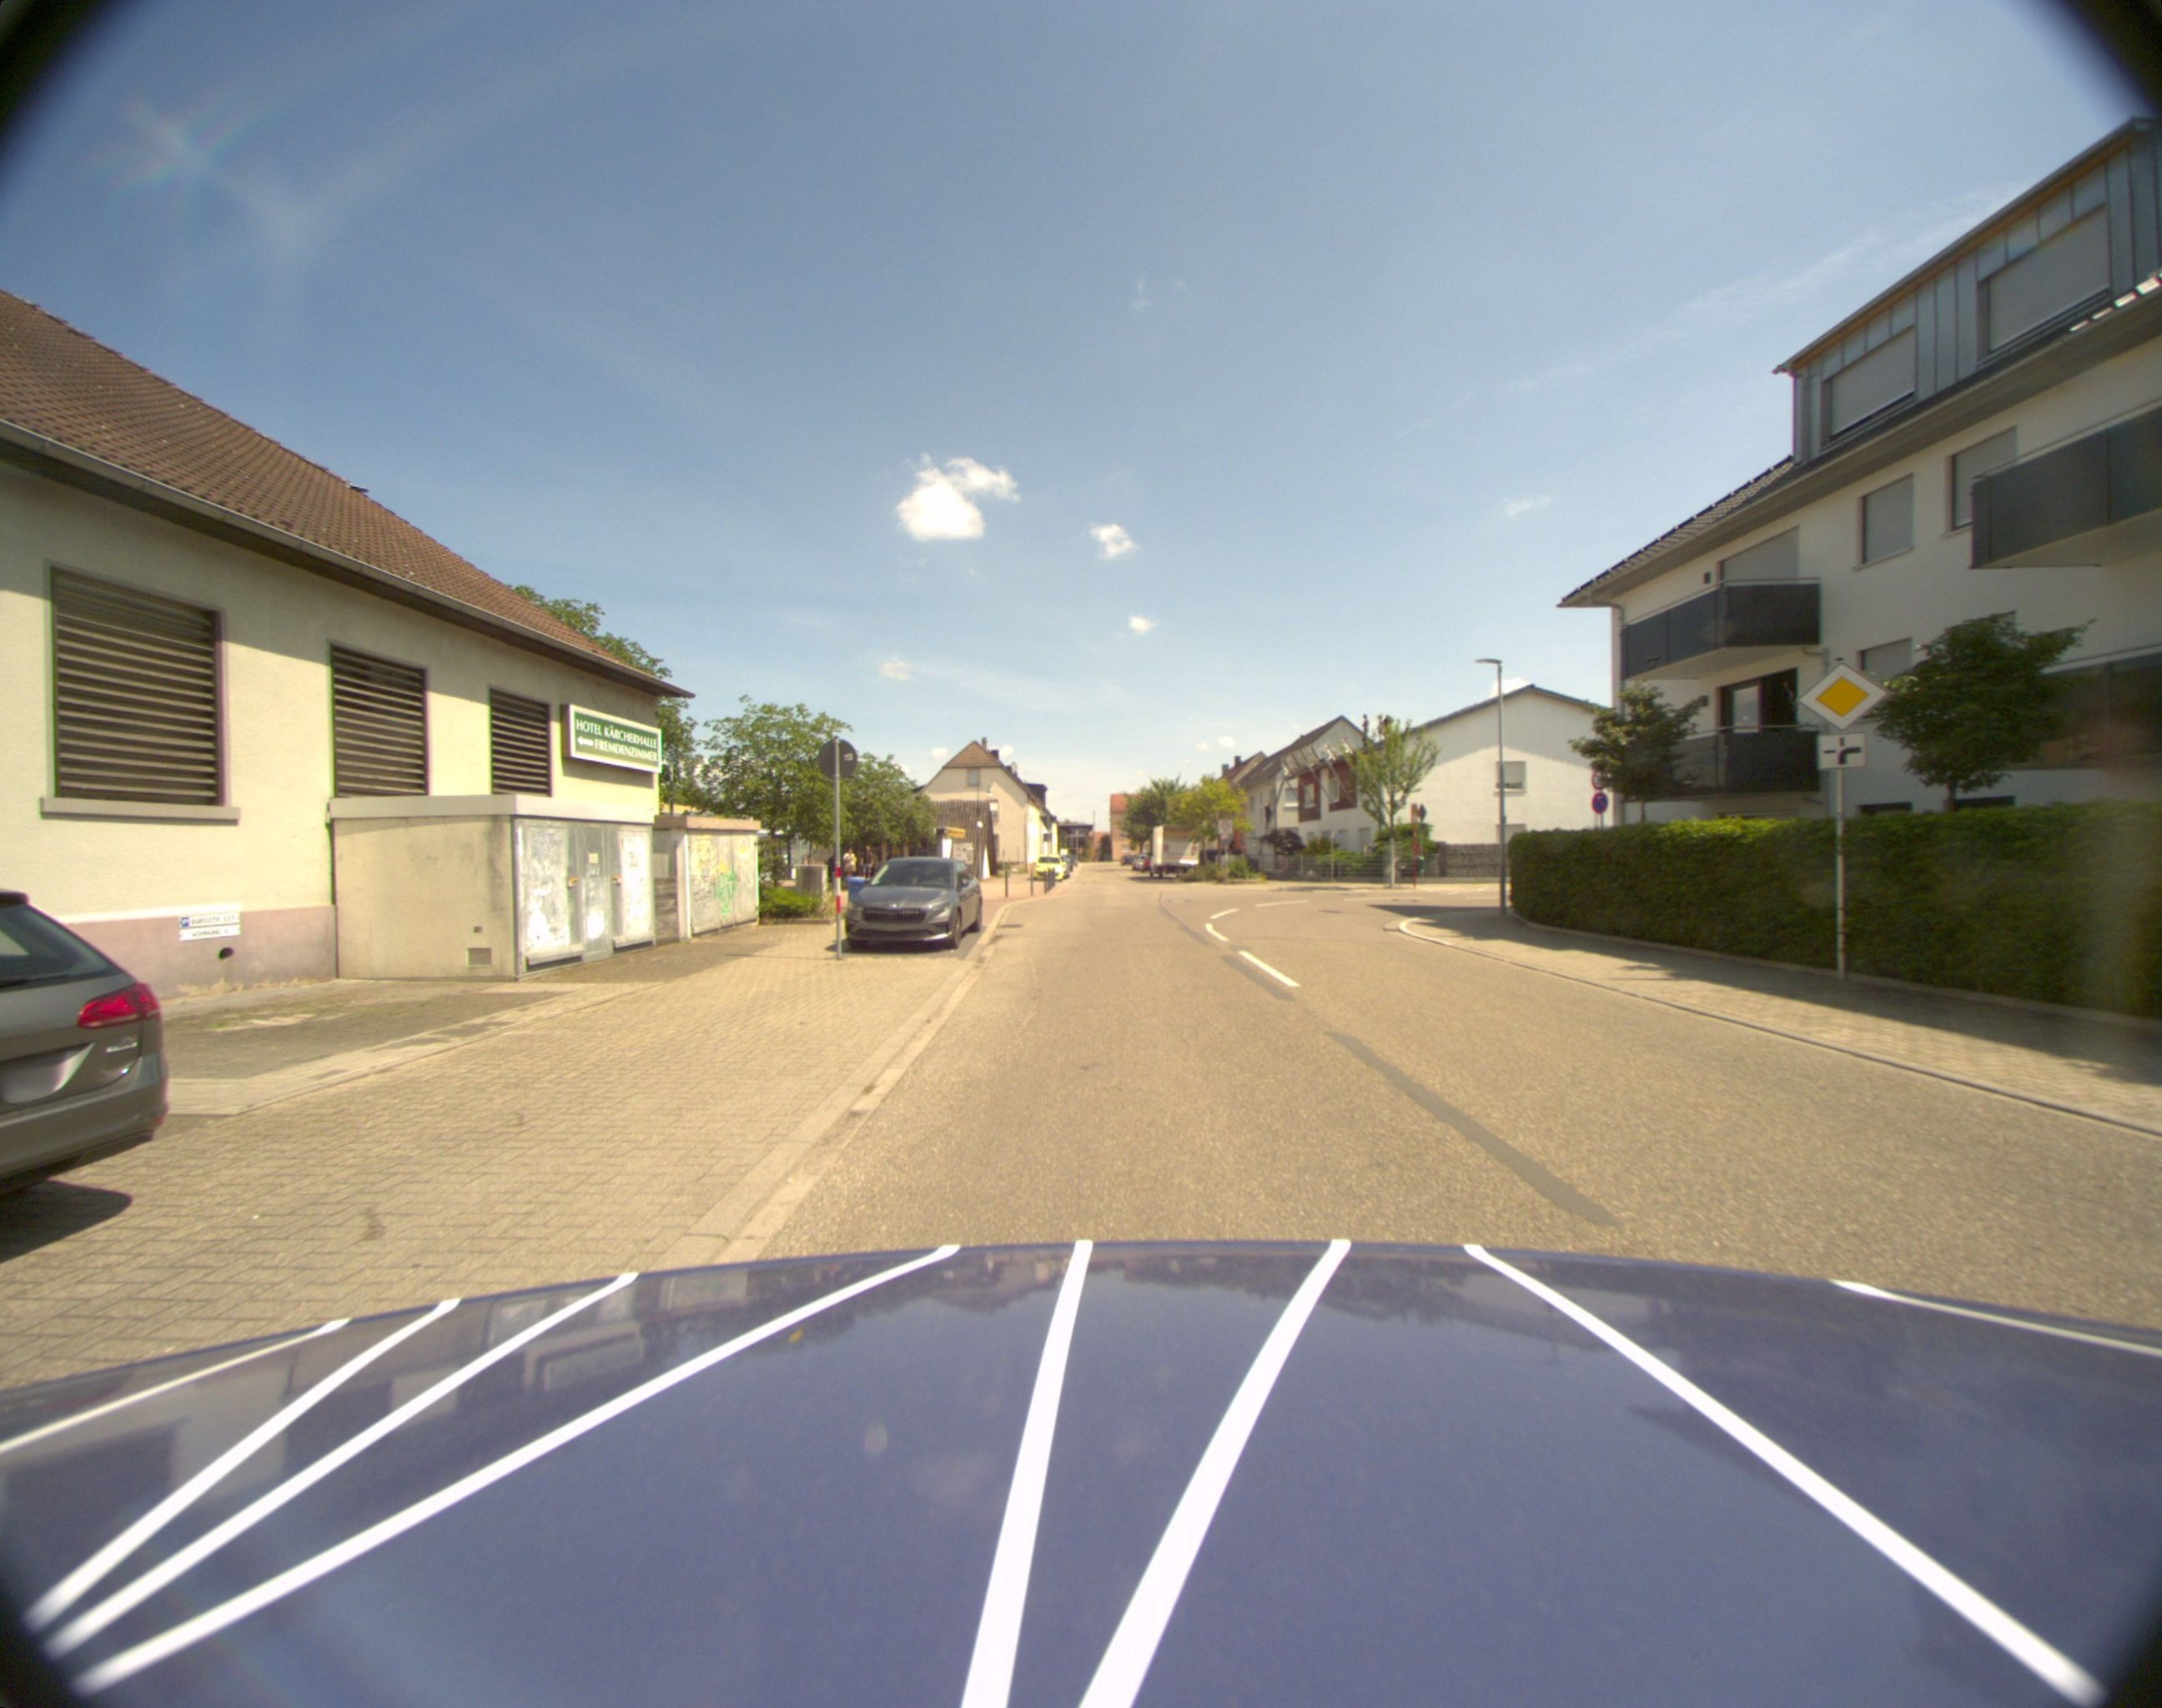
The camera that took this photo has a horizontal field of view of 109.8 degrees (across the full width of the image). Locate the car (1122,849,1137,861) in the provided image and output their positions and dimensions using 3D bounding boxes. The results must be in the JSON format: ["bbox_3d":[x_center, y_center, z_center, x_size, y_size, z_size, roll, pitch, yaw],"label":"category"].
[{"bbox_3d":[6.300,0.170,98.626,1.720,1.491,4.215,1,0,0],"label":"car"}]

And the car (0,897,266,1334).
[{"bbox_3d":[-6.002,0.916,2.531,4.537,1.446,1.918,1,1,1],"label":"car"}]

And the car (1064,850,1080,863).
[{"bbox_3d":[-1.068,0.302,92.820,1.720,1.491,4.215,3,0,1],"label":"car"}]

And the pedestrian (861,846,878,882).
[{"bbox_3d":[-9.950,0.465,35.684,0.463,1.710,0.599,0,1,42],"label":"pedestrian"}]

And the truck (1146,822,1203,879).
[{"bbox_3d":[5.797,-0.215,48.151,2.444,3.228,7.035,2,0,-1],"label":"truck"}]

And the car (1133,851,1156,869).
[{"bbox_3d":[5.659,0.507,68.095,1.720,1.491,4.215,1,0,0],"label":"car"}]

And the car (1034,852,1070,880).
[{"bbox_3d":[-1.615,0.639,43.232,1.720,1.390,4.215,3,0,1],"label":"car"}]

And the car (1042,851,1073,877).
[{"bbox_3d":[-1.437,0.606,47.813,1.720,1.491,4.215,3,0,1],"label":"car"}]

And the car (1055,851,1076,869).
[{"bbox_3d":[-1.374,0.506,70.426,1.720,1.491,4.215,3,0,1],"label":"car"}]

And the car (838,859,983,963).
[{"bbox_3d":[-2.808,0.855,13.383,1.632,1.480,4.139,-1,0,0],"label":"car"}]

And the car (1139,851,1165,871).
[{"bbox_3d":[5.771,0.556,61.908,1.720,1.491,4.215,1,0,0],"label":"car"}]

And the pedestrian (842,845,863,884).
[{"bbox_3d":[-10.544,0.465,35.062,0.548,1.778,0.682,0,1,42],"label":"pedestrian"}]
